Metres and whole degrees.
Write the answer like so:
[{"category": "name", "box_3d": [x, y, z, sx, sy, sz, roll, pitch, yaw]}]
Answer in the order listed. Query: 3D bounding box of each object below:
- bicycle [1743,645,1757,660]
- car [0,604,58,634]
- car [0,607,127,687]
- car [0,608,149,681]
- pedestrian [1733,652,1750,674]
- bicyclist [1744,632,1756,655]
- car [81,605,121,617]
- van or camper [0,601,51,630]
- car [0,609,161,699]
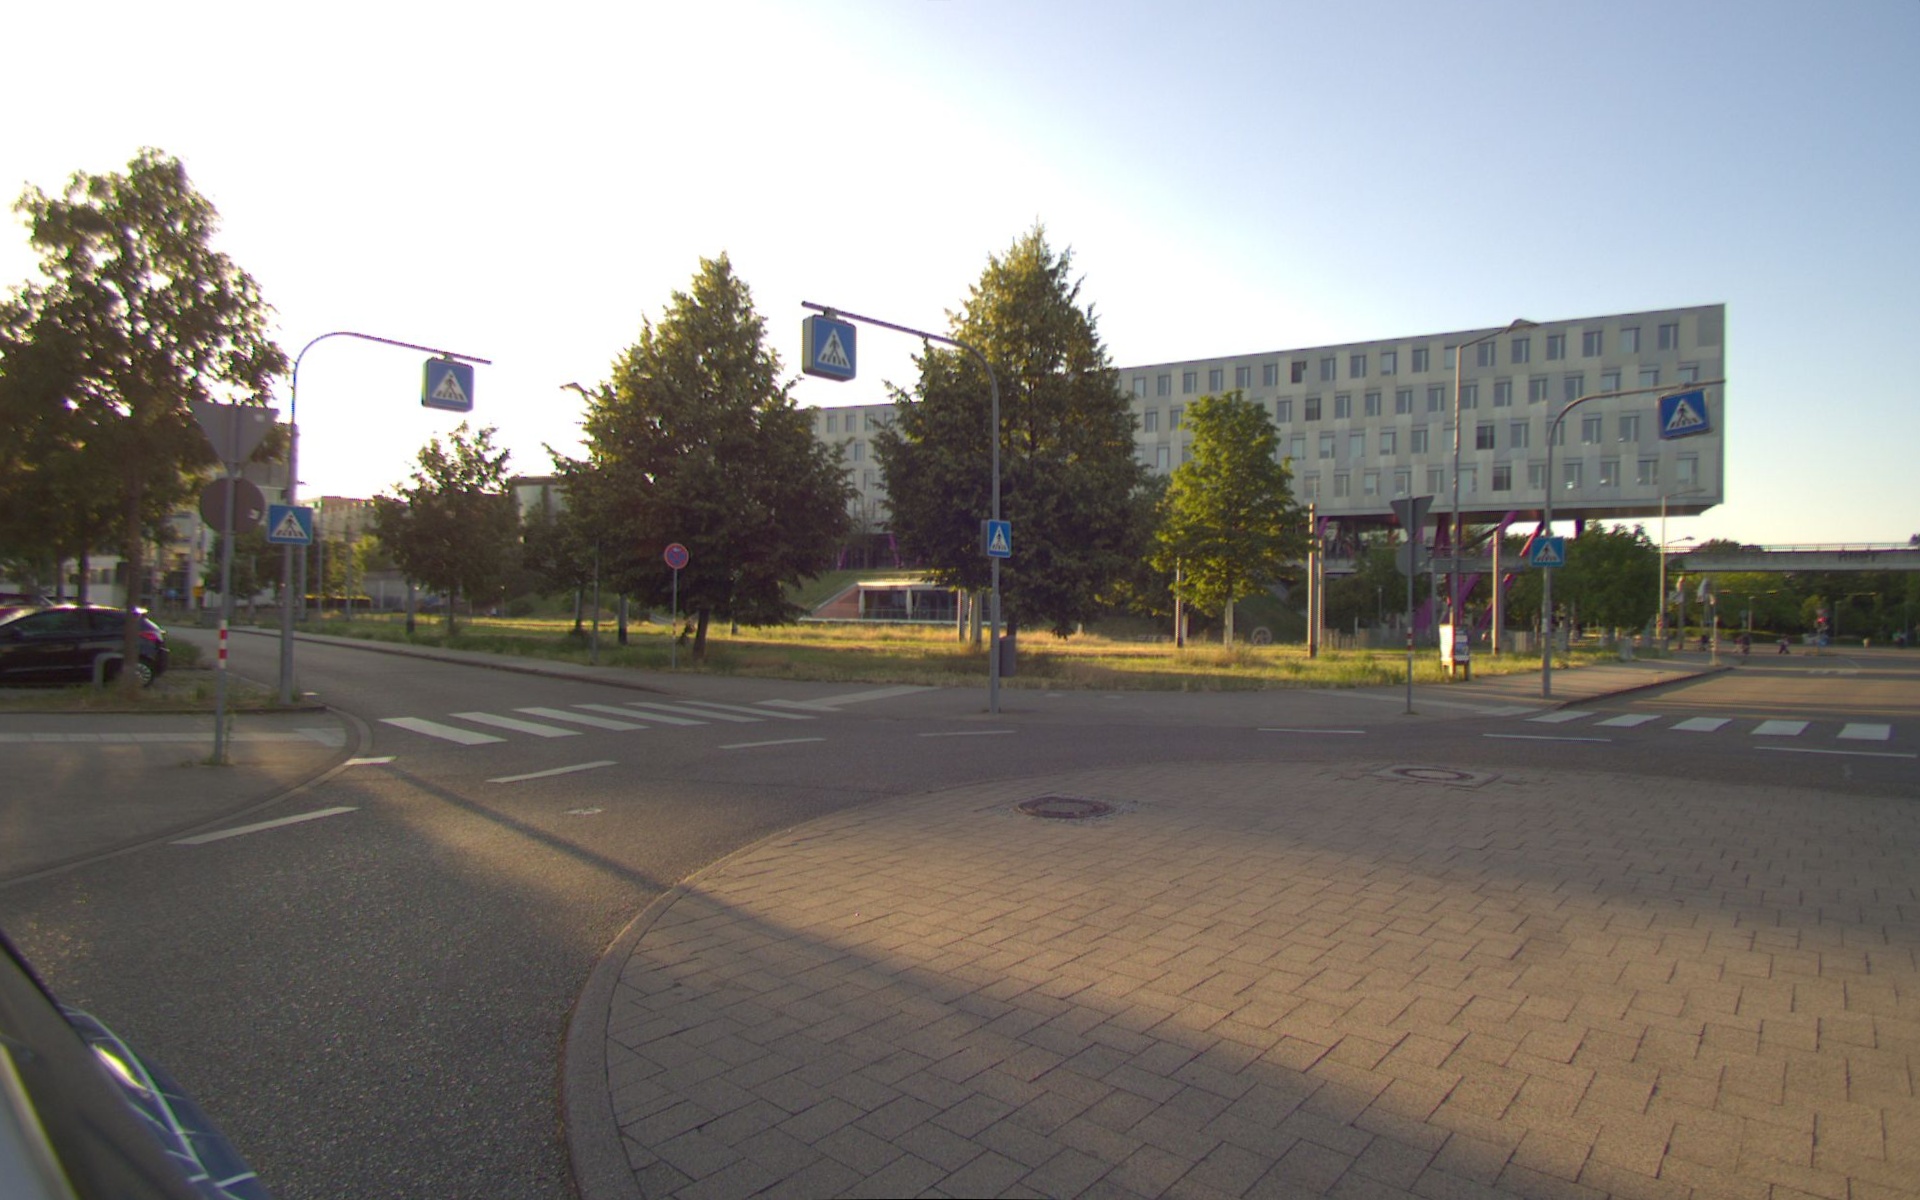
[{"category": "bicycle", "box_3d": [59.087, 3.897, 75.679, 1.896, 1.051, 0.541, 1, -1, -44]}, {"category": "car", "box_3d": [-55.012, 1.105, 58.687, 1.701, 1.707, 3.829, 0, -1, 39]}, {"category": "car", "box_3d": [-18.563, 0.901, 19.776, 1.595, 1.512, 3.361, 0, -2, 44]}, {"category": "car", "box_3d": [-19.954, 0.949, 22.066, 1.595, 1.512, 3.361, 0, -2, 44]}, {"category": "pedestrian", "box_3d": [68.670, 5.550, 88.902, 1.052, 1.848, 0.887, 0, -1, 28]}, {"category": "bicyclist", "box_3d": [59.105, 3.248, 75.714, 1.021, 1.675, 0.617, 1, -1, -44]}, {"category": "car", "box_3d": [-111.383, 1.422, 131.244, 1.703, 1.625, 3.825, 0, -1, 42]}, {"category": "van or camper", "box_3d": [-57.139, 0.917, 60.689, 1.835, 1.707, 3.824, 0, -1, 44]}, {"category": "car", "box_3d": [-16.736, 0.945, 18.318, 1.691, 1.533, 3.361, 0, -2, 44]}]
